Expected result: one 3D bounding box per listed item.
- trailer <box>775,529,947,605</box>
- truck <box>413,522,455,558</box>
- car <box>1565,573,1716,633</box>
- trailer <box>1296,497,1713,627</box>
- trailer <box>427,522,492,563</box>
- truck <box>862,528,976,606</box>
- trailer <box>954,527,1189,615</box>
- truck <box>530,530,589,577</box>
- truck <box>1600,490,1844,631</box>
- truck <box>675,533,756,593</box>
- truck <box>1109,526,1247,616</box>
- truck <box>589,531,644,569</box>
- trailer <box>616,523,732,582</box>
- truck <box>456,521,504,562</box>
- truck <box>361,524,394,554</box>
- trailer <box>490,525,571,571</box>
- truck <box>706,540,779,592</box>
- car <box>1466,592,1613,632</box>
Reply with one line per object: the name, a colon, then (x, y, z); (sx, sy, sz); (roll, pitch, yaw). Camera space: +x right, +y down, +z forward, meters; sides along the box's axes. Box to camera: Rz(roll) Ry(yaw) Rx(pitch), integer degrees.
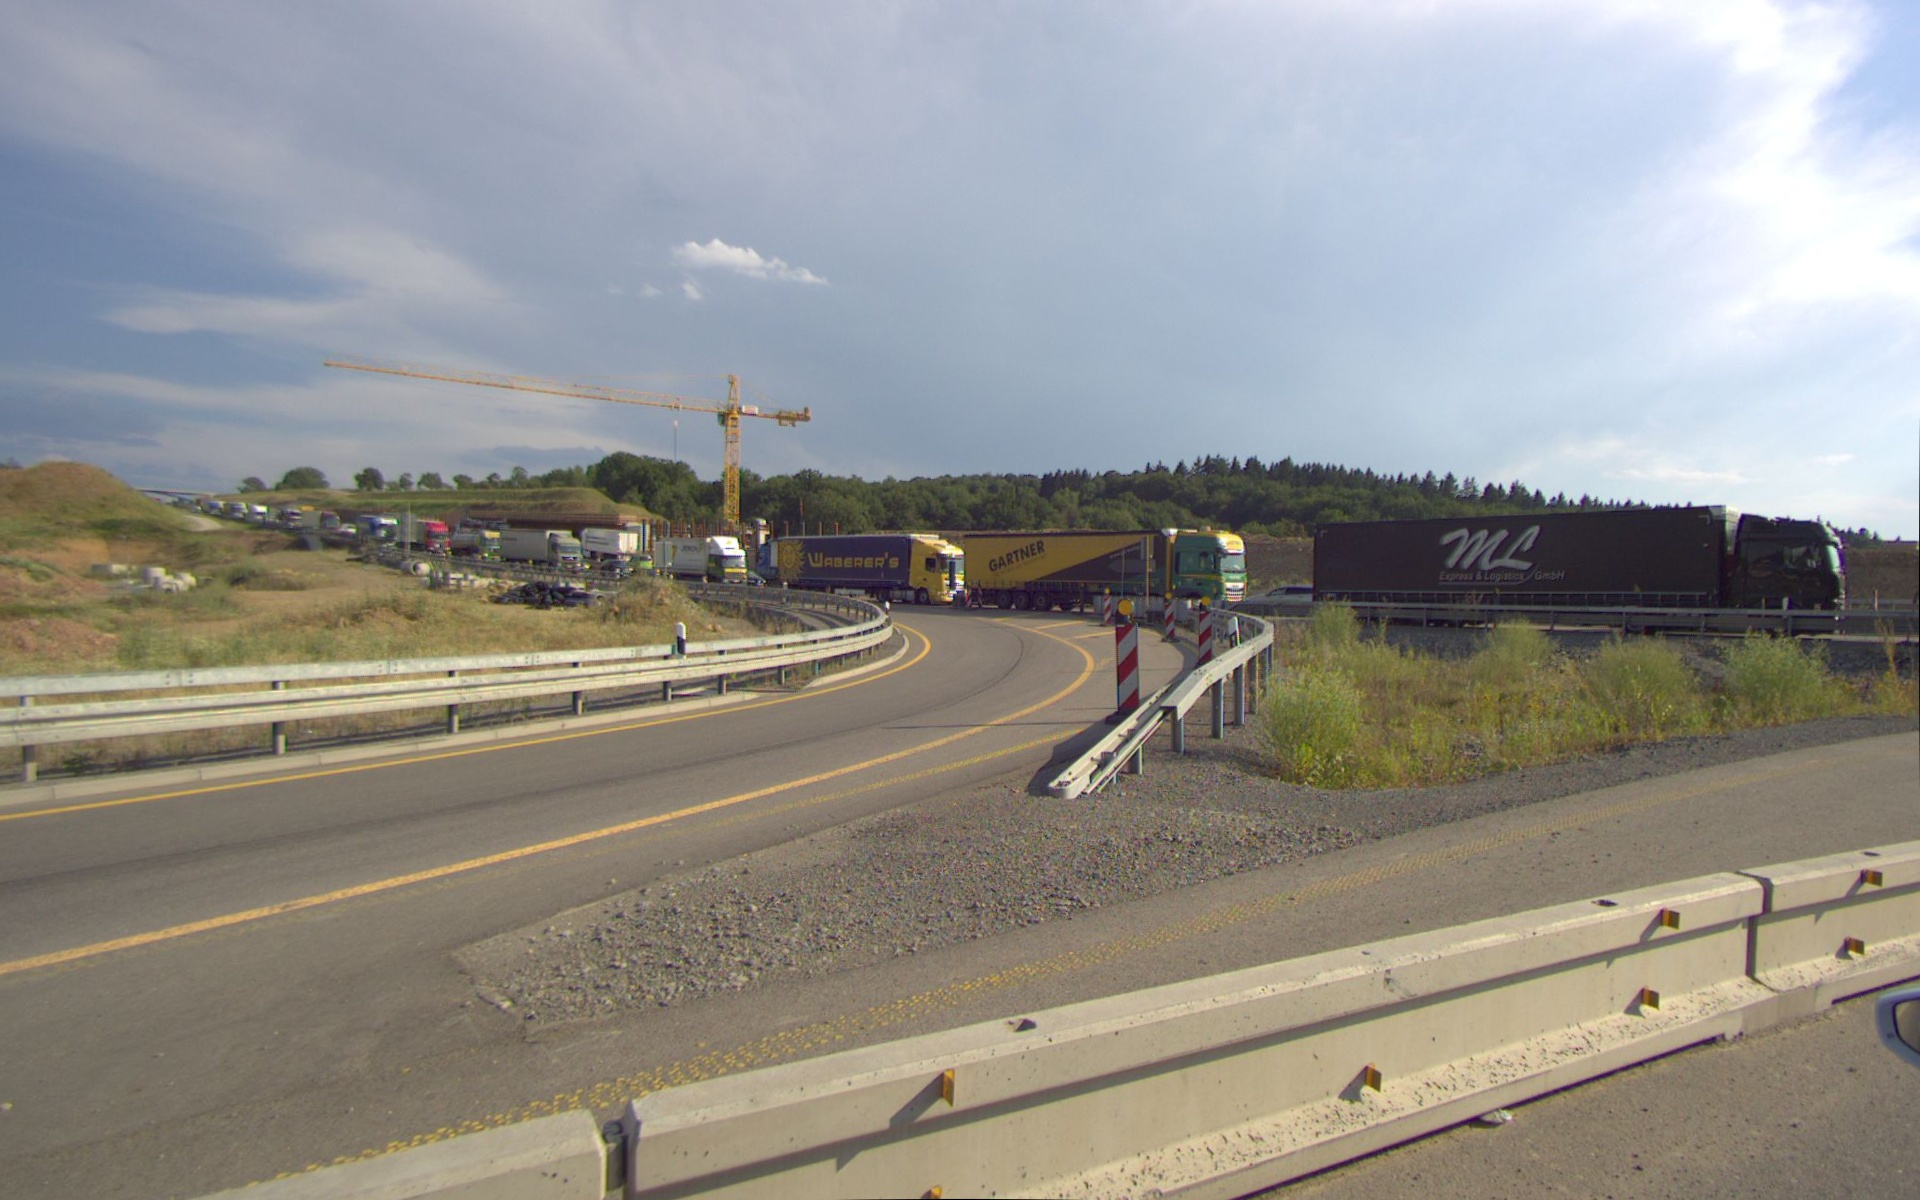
trailer: (-6.750, -2.014, 64.939); (3.092, 4.371, 14.068); (1, 0, -43)
truck: (-69.300, -7.837, 132.277); (3.092, 4.371, 6.808); (1, 0, -43)
car: (24.375, 0.092, 36.093); (1.517, 2.040, 4.273); (1, 0, -45)
trailer: (19.433, -1.311, 37.324); (13.443, 4.116, 2.473); (1, 1, 44)
trailer: (-60.336, -6.799, 120.769); (3.092, 4.371, 14.068); (1, 0, -43)
truck: (-2.565, -1.916, 60.429); (3.092, 4.371, 6.808); (1, 0, -43)
trailer: (5.281, -1.457, 52.042); (2.471, 4.012, 13.794); (-1, 1, -44)
truck: (-39.826, -4.521, 99.805); (3.092, 4.371, 6.808); (1, 0, -43)
truck: (24.408, -1.208, 32.376); (2.472, 4.115, 5.931); (-1, 2, -45)
truck: (-18.987, -2.809, 77.728); (3.092, 4.371, 6.808); (1, 0, -43)
truck: (10.090, -1.338, 46.981); (2.471, 3.954, 5.933); (-1, 2, -44)
truck: (-45.225, -6.482, 131.916); (3.537, 4.470, 13.047); (1, 0, -34)
trailer: (-23.863, -3.769, 83.022); (3.092, 4.371, 14.068); (1, 0, -43)
truck: (-55.144, -6.668, 115.311); (3.092, 4.371, 6.808); (1, 0, -43)
truck: (-86.638, -9.056, 149.309); (2.505, 4.054, 8.447); (1, 0, -42)
trailer: (-45.365, -5.365, 105.725); (3.092, 4.371, 14.068); (1, 0, -43)
truck: (-17.729, -2.738, 81.601); (2.838, 4.050, 6.537); (0, 1, -44)
car: (23.852, 0.443, 41.497); (2.020, 1.520, 4.915); (-3, 2, -43)
